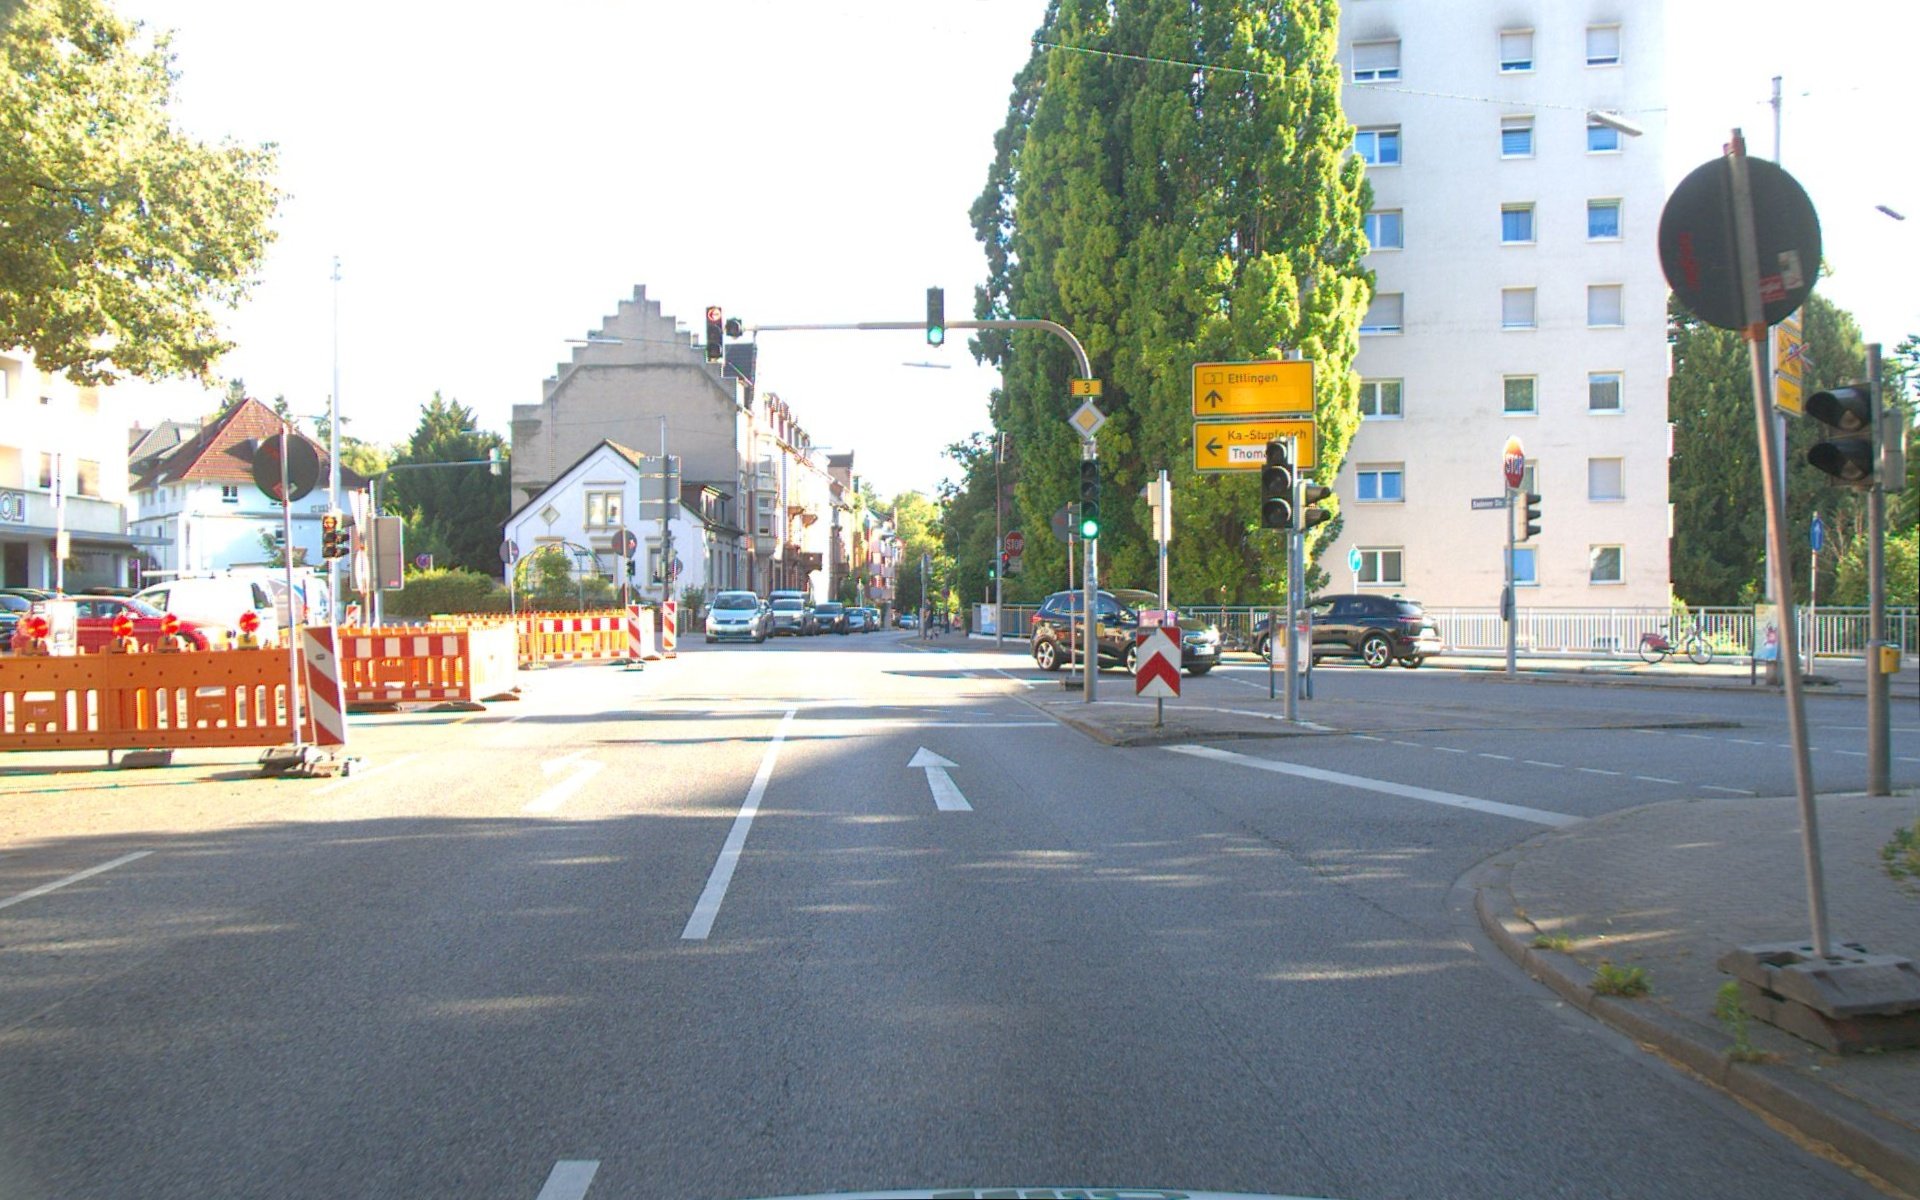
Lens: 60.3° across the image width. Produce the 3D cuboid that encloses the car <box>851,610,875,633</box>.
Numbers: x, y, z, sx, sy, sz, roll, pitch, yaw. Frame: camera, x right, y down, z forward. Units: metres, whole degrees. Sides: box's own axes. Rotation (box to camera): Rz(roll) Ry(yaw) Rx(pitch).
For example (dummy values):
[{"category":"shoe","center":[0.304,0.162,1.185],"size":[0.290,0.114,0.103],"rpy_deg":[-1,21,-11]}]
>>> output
[{"category":"car","center":[-7.685,1.675,131.777],"size":[1.667,1.769,3.857],"rpy_deg":[1,0,0]}]

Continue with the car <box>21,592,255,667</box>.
[{"category":"car","center":[-17.169,0.601,34.708],"size":[3.914,1.505,1.997],"rpy_deg":[0,0,-7]}]

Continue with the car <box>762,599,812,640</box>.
[{"category":"car","center":[-7.537,0.808,72.455],"size":[1.739,1.677,4.534],"rpy_deg":[1,1,-1]}]

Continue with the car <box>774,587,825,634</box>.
[{"category":"car","center":[-8.873,0.563,91.682],"size":[2.025,2.503,6.015],"rpy_deg":[1,0,2]}]

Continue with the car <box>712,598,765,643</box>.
[{"category":"car","center":[-8.125,0.729,60.955],"size":[1.741,1.506,4.092],"rpy_deg":[1,1,-5]}]

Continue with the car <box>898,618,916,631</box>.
[{"category":"car","center":[-6.545,2.993,204.346],"size":[1.952,1.517,4.471],"rpy_deg":[-1,1,1]}]

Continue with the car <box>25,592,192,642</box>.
[{"category":"car","center":[-26.135,0.504,50.827],"size":[4.221,1.423,2.002],"rpy_deg":[1,0,11]}]

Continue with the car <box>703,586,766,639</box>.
[{"category":"car","center":[-7.096,0.359,51.789],"size":[1.743,1.570,3.990],"rpy_deg":[1,1,-11]}]

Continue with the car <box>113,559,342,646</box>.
[{"category":"car","center":[-17.673,0.052,40.098],"size":[4.575,1.999,2.115],"rpy_deg":[1,0,-5]}]

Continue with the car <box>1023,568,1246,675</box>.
[{"category":"car","center":[3.339,0.352,32.296],"size":[1.980,1.847,4.194],"rpy_deg":[-4,3,-38]}]

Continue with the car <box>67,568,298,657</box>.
[{"category":"car","center":[-17.463,0.258,37.288],"size":[4.225,1.884,2.000],"rpy_deg":[1,0,0]}]

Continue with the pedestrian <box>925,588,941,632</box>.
[{"category":"pedestrian","center":[-1.052,0.408,65.635],"size":[0.590,1.722,0.612],"rpy_deg":[-1,0,0]}]

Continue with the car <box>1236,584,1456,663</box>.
[{"category":"car","center":[8.879,0.530,38.249],"size":[4.582,1.699,1.987],"rpy_deg":[0,-3,43]}]

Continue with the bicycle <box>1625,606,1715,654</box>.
[{"category":"bicycle","center":[17.099,0.713,39.854],"size":[1.886,1.087,0.613],"rpy_deg":[1,1,38]}]

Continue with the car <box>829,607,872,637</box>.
[{"category":"car","center":[-6.592,1.323,100.059],"size":[1.912,1.677,4.286],"rpy_deg":[1,1,5]}]

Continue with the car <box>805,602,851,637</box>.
[{"category":"car","center":[-6.855,1.000,85.984],"size":[1.913,1.677,4.284],"rpy_deg":[1,1,1]}]
